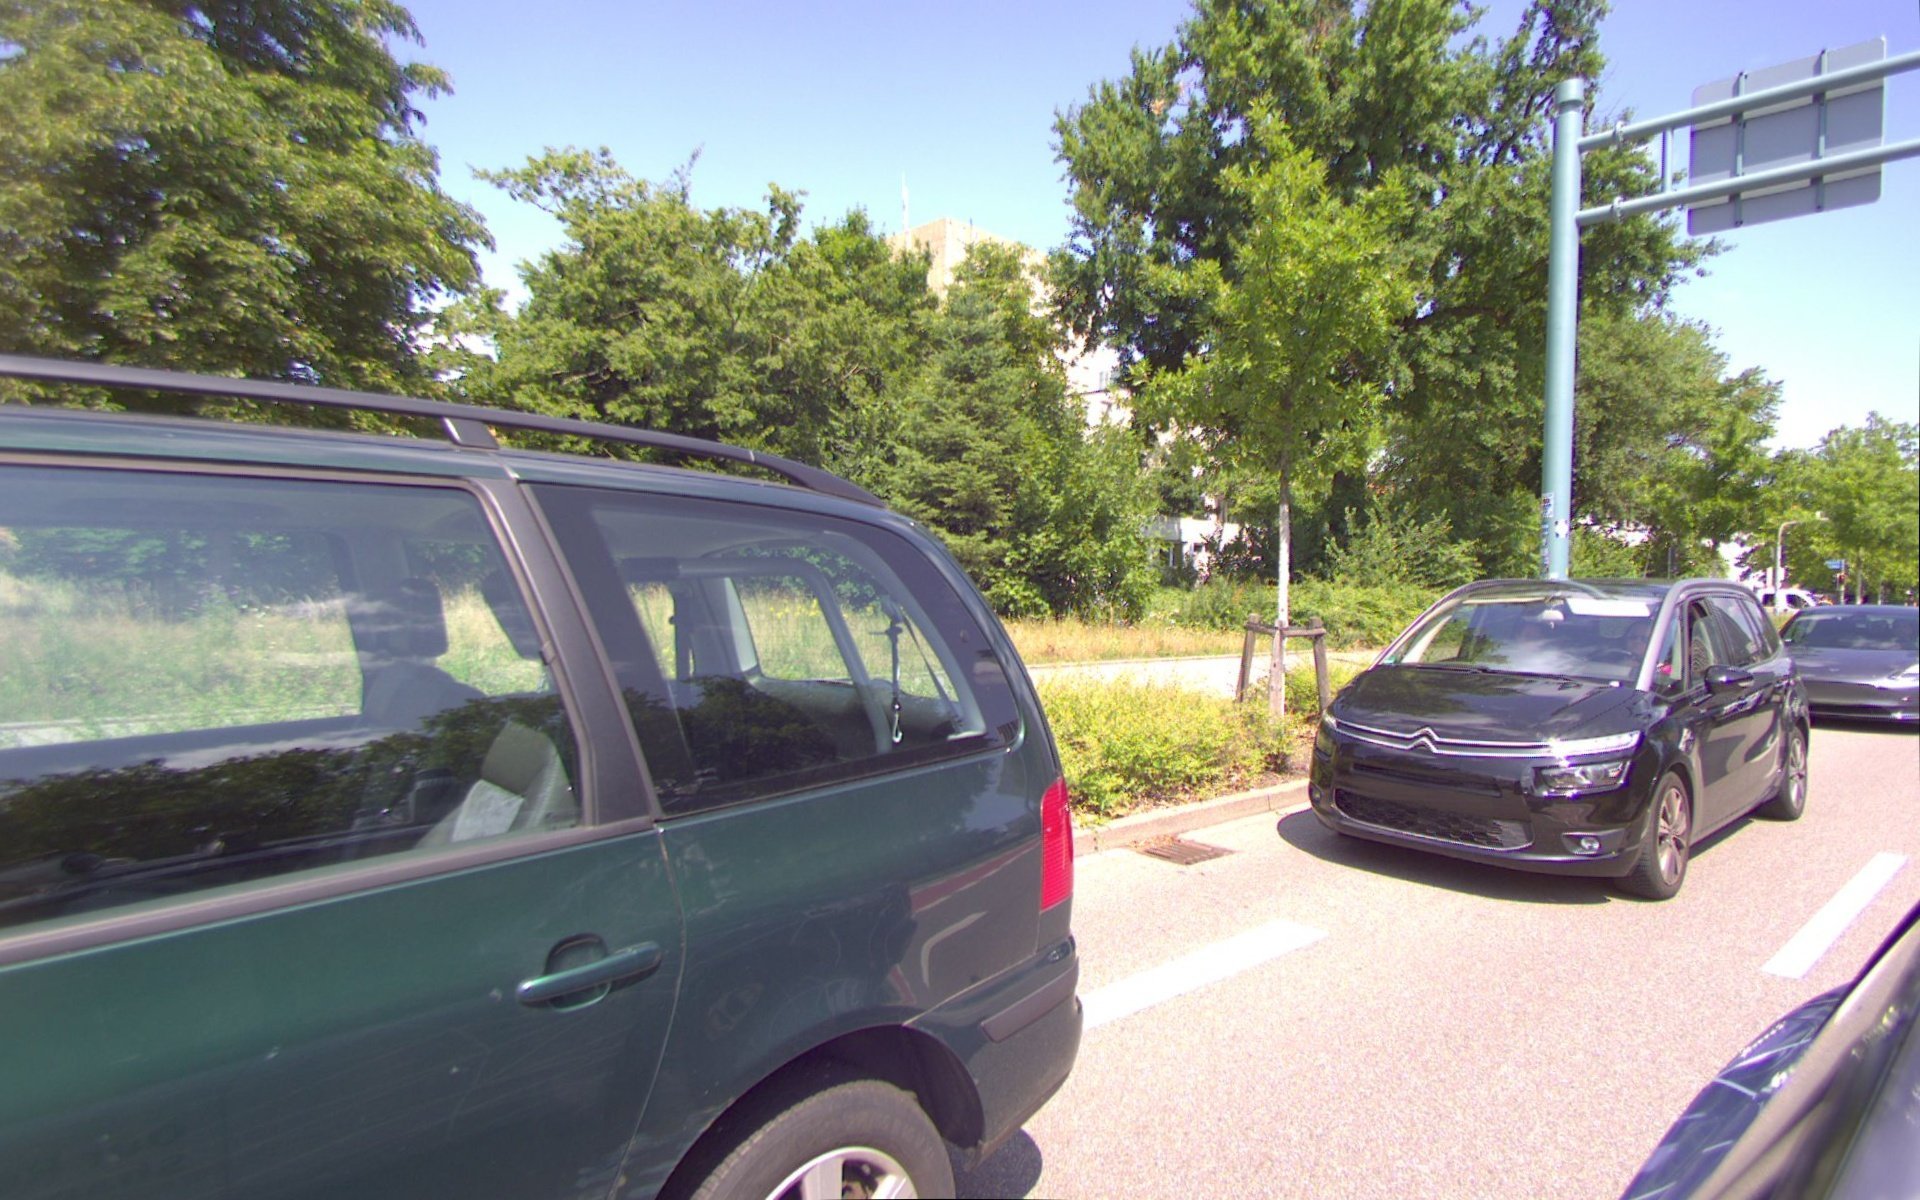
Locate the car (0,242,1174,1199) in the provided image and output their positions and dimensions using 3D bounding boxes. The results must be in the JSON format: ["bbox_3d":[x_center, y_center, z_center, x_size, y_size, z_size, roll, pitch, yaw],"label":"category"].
[{"bbox_3d":[-1.783,0.531,1.408,4.369,1.745,1.797,1,-1,-40],"label":"car"}]

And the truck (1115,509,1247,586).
[{"bbox_3d":[9.653,-2.130,43.703,7.009,3.061,2.093,-1,0,-45],"label":"truck"}]

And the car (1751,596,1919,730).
[{"bbox_3d":[11.507,0.691,12.668,4.287,1.436,1.764,1,-1,-41],"label":"car"}]

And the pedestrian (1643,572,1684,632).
[{"bbox_3d":[21.260,0.054,30.584,0.827,1.787,0.844,0,0,-41],"label":"pedestrian"}]

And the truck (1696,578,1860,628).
[{"bbox_3d":[40.125,0.176,49.830,2.415,2.330,5.817,1,-1,-33],"label":"truck"}]

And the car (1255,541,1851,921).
[{"bbox_3d":[4.009,0.586,6.515,4.438,1.643,1.862,1,-1,-39],"label":"car"}]
